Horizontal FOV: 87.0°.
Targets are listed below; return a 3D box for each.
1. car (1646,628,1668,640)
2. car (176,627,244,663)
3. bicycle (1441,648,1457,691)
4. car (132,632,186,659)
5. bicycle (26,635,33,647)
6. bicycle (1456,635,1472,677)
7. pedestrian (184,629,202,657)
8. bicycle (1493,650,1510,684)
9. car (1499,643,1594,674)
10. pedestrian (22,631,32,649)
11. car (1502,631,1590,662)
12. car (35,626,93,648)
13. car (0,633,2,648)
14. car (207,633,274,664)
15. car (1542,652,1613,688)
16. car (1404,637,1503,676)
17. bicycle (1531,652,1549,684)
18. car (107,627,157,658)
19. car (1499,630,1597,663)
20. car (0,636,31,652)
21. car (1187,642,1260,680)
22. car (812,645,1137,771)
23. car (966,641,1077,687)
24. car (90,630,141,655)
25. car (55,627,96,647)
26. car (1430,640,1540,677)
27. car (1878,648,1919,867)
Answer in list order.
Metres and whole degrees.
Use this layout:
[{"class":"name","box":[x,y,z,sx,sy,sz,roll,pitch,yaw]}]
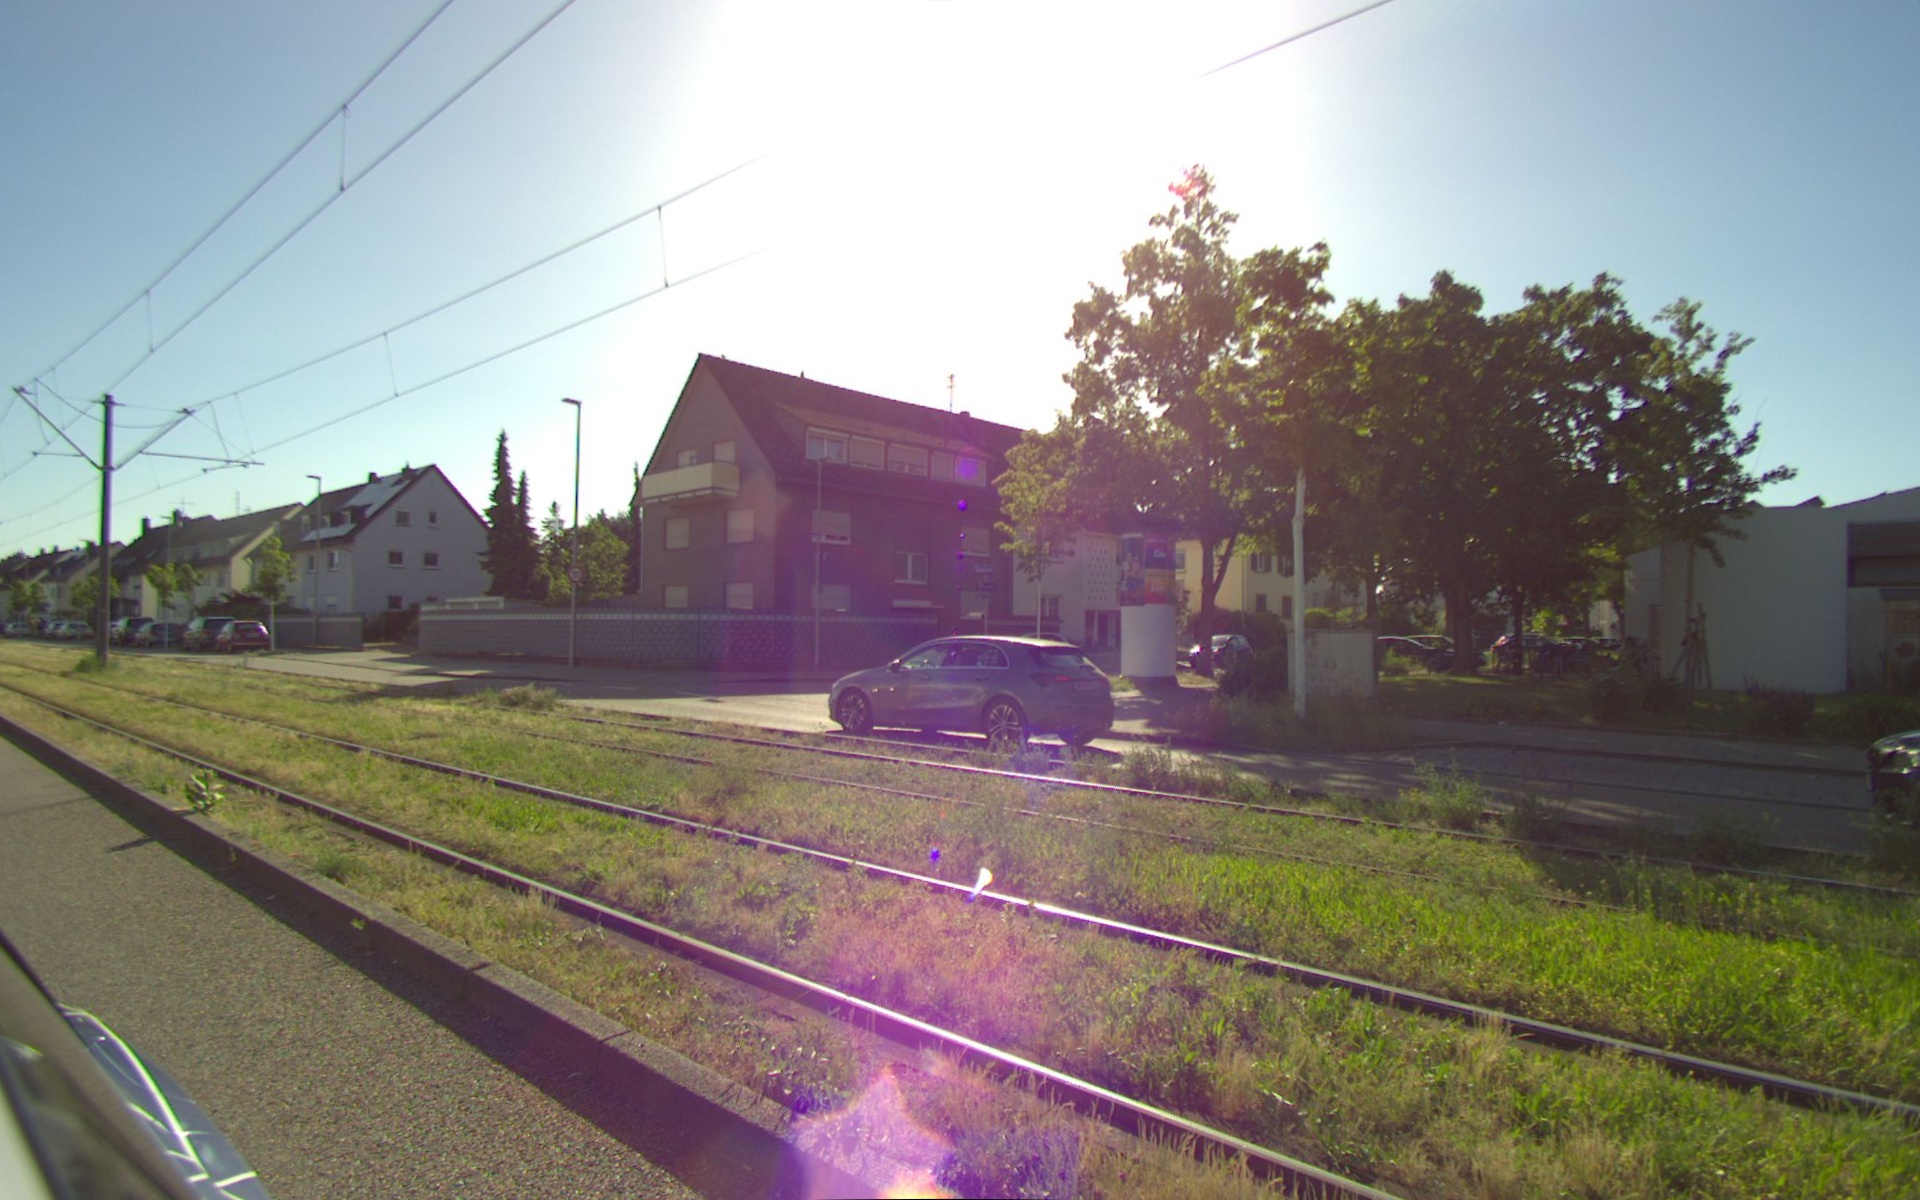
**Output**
[{"class":"car","box":[82.814,3.983,120.221,3.226,1.343,1.437,0,-1,-43]},{"class":"car","box":[-38.100,2.257,51.354,4.844,1.697,1.800,-2,-1,42]},{"class":"bicycle","box":[12.827,1.806,26.550,0.303,1.091,1.048,-1,-3,23]},{"class":"car","box":[-47.718,2.681,60.252,4.045,1.502,1.660,-1,-1,39]},{"class":"bicycle","box":[-95.286,4.164,103.631,0.471,1.172,1.872,0,-1,-44]},{"class":"bicycle","box":[13.140,1.463,26.415,0.303,1.067,1.031,-1,-3,24]},{"class":"pedestrian","box":[-47.193,2.646,62.252,0.919,1.652,0.689,-1,-1,39]},{"class":"bicycle","box":[13.916,1.705,26.001,0.333,0.831,1.232,-1,-2,31]},{"class":"car","box":[29.793,2.940,51.466,1.703,1.496,3.833,0,-2,-43]},{"class":"pedestrian","box":[-95.442,4.120,103.544,0.676,1.829,0.611,-1,-1,31]},{"class":"car","box":[32.795,2.605,56.713,3.998,1.629,1.606,-3,-2,41]},{"class":"car","box":[-94.738,3.897,107.028,1.786,2.096,4.415,-1,1,40]},{"class":"car","box":[-101.497,4.282,105.825,4.082,1.523,1.602,-2,-2,41]},{"class":"car","box":[-34.025,2.286,47.834,4.077,1.415,1.677,-2,-3,42]},{"class":"car","box":[23.438,2.625,38.379,3.970,1.221,1.343,2,-2,-44]},{"class":"car","box":[20.545,2.332,42.222,1.454,1.543,3.402,0,-2,-37]},{"class":"bicycle","box":[14.775,1.726,25.774,0.301,0.786,1.050,-1,-3,35]},{"class":"car","box":[-52.592,2.660,64.257,4.839,1.837,1.727,-2,-1,41]},{"class":"car","box":[31.490,2.480,54.265,1.824,1.688,4.167,0,-2,-43]},{"class":"car","box":[-91.322,4.259,97.856,4.099,1.447,1.641,-2,-2,39]},{"class":"car","box":[11.794,2.694,45.240,1.725,1.472,3.580,-1,-1,41]},{"class":"car","box":[0.075,1.363,13.816,4.385,1.399,1.670,-1,-4,41]},{"class":"car","box":[2.162,2.201,34.959,1.838,1.440,3.820,-4,-4,41]},{"class":"car","box":[-56.617,2.837,67.843,4.554,1.552,1.940,-1,-1,41]},{"class":"car","box":[-69.179,2.868,79.121,4.438,1.487,1.672,-1,-1,39]},{"class":"car","box":[22.519,2.503,43.528,1.703,1.496,3.832,0,-2,-44]},{"class":"car","box":[8.772,1.069,5.930,4.913,1.455,1.744,-1,-4,40]}]
